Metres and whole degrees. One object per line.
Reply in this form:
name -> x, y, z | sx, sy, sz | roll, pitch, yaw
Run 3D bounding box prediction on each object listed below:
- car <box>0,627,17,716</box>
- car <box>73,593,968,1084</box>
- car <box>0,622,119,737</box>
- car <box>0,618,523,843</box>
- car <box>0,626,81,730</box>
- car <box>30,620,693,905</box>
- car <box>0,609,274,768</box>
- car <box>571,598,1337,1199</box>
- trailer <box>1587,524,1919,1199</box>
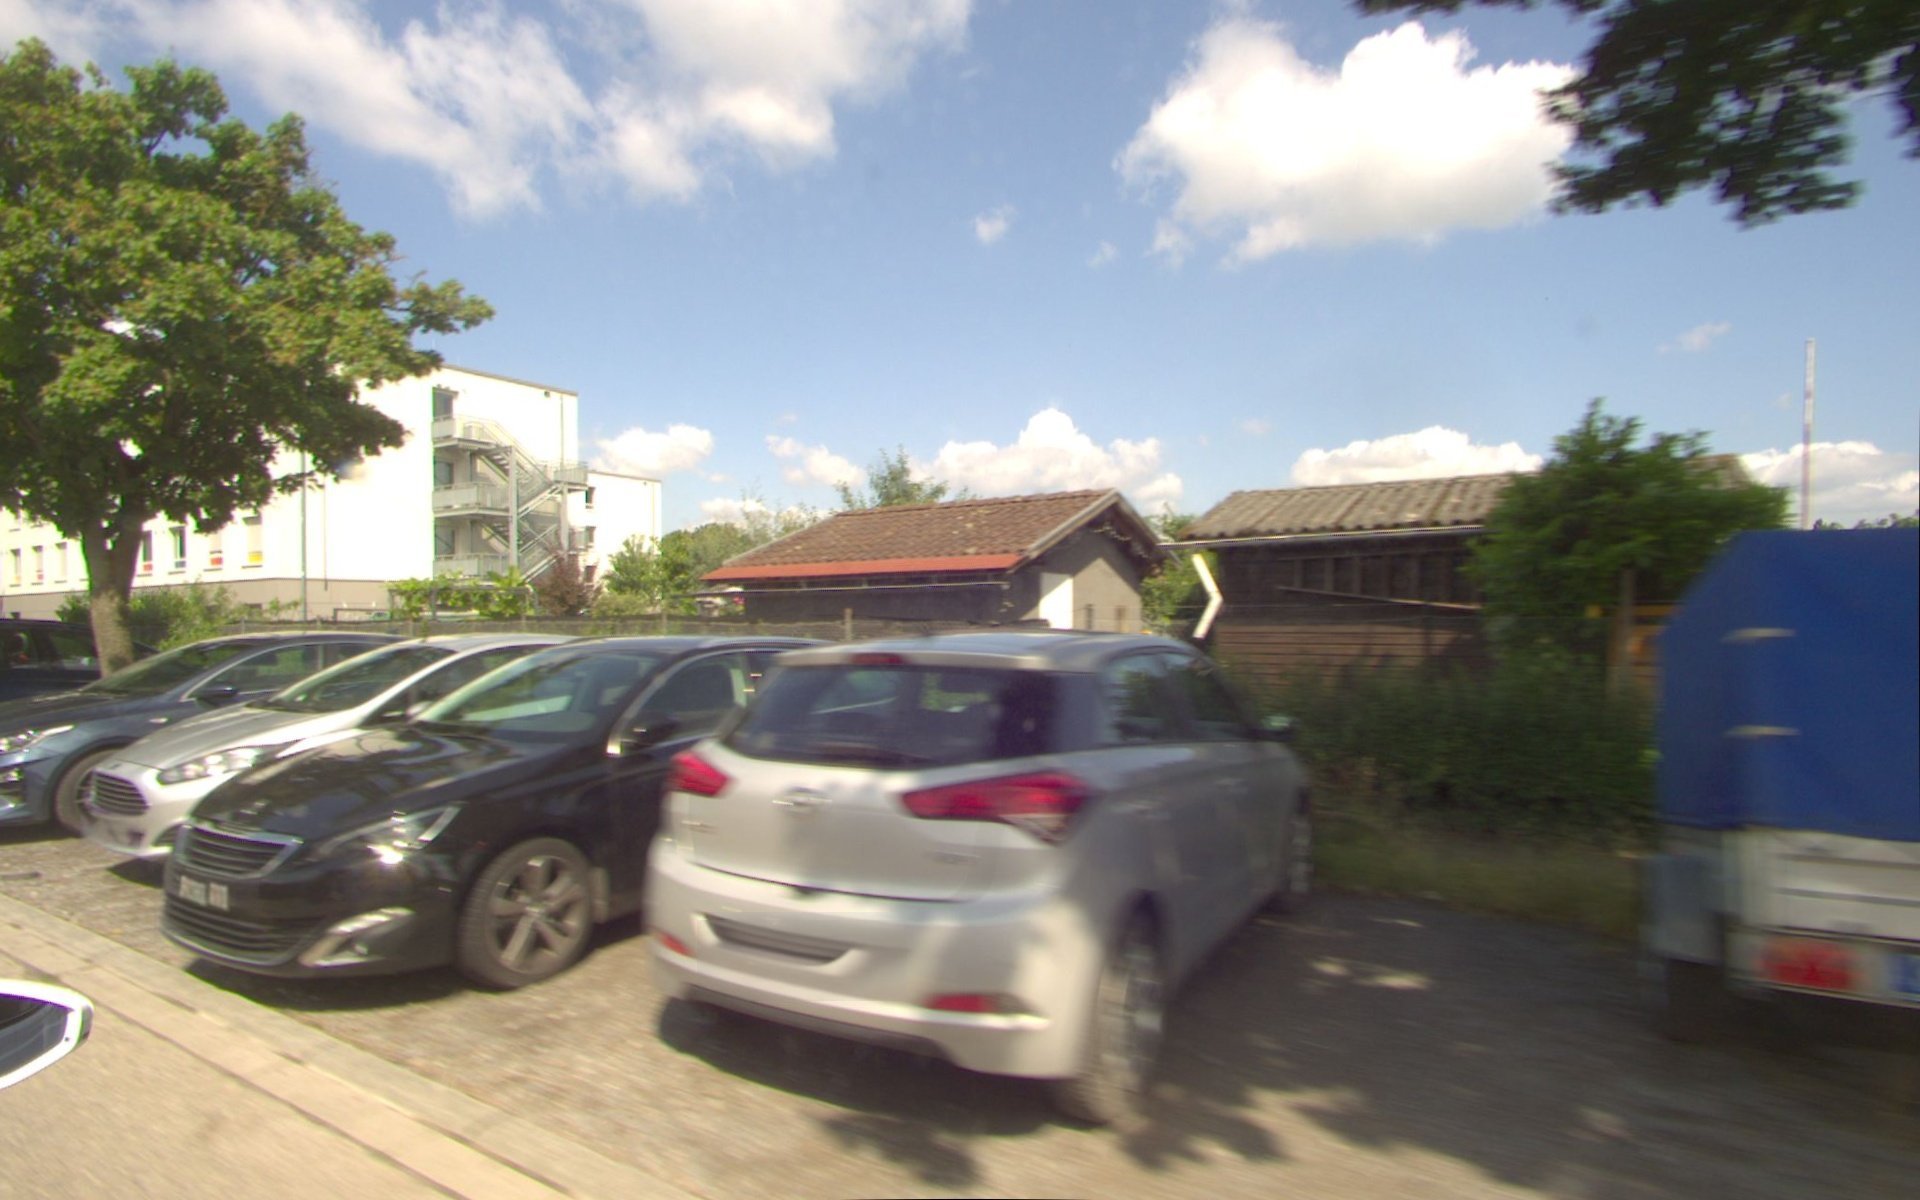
car -> -18.408, 1.217, 16.703 | 1.642, 1.568, 3.571 | -1, -2, 29
car -> -1.902, 0.882, 5.670 | 1.971, 1.614, 4.296 | -1, -3, 32
car -> -14.096, 1.100, 13.570 | 1.737, 1.552, 3.801 | -1, -1, 32
car -> -6.366, 0.960, 8.764 | 1.947, 1.511, 4.329 | -1, -3, 32
car -> -16.168, 1.165, 14.738 | 1.782, 1.598, 4.543 | -1, -2, 31
car -> -4.075, 0.949, 7.443 | 1.875, 1.511, 3.807 | -1, -2, 32
car -> -10.530, 0.945, 11.365 | 1.853, 1.659, 4.144 | -1, -1, 34
car -> 0.422, 0.860, 4.468 | 1.822, 1.559, 3.721 | -1, -2, 29
trailer -> 3.205, 0.721, 3.555 | 1.495, 1.742, 2.448 | 0, -2, 29
